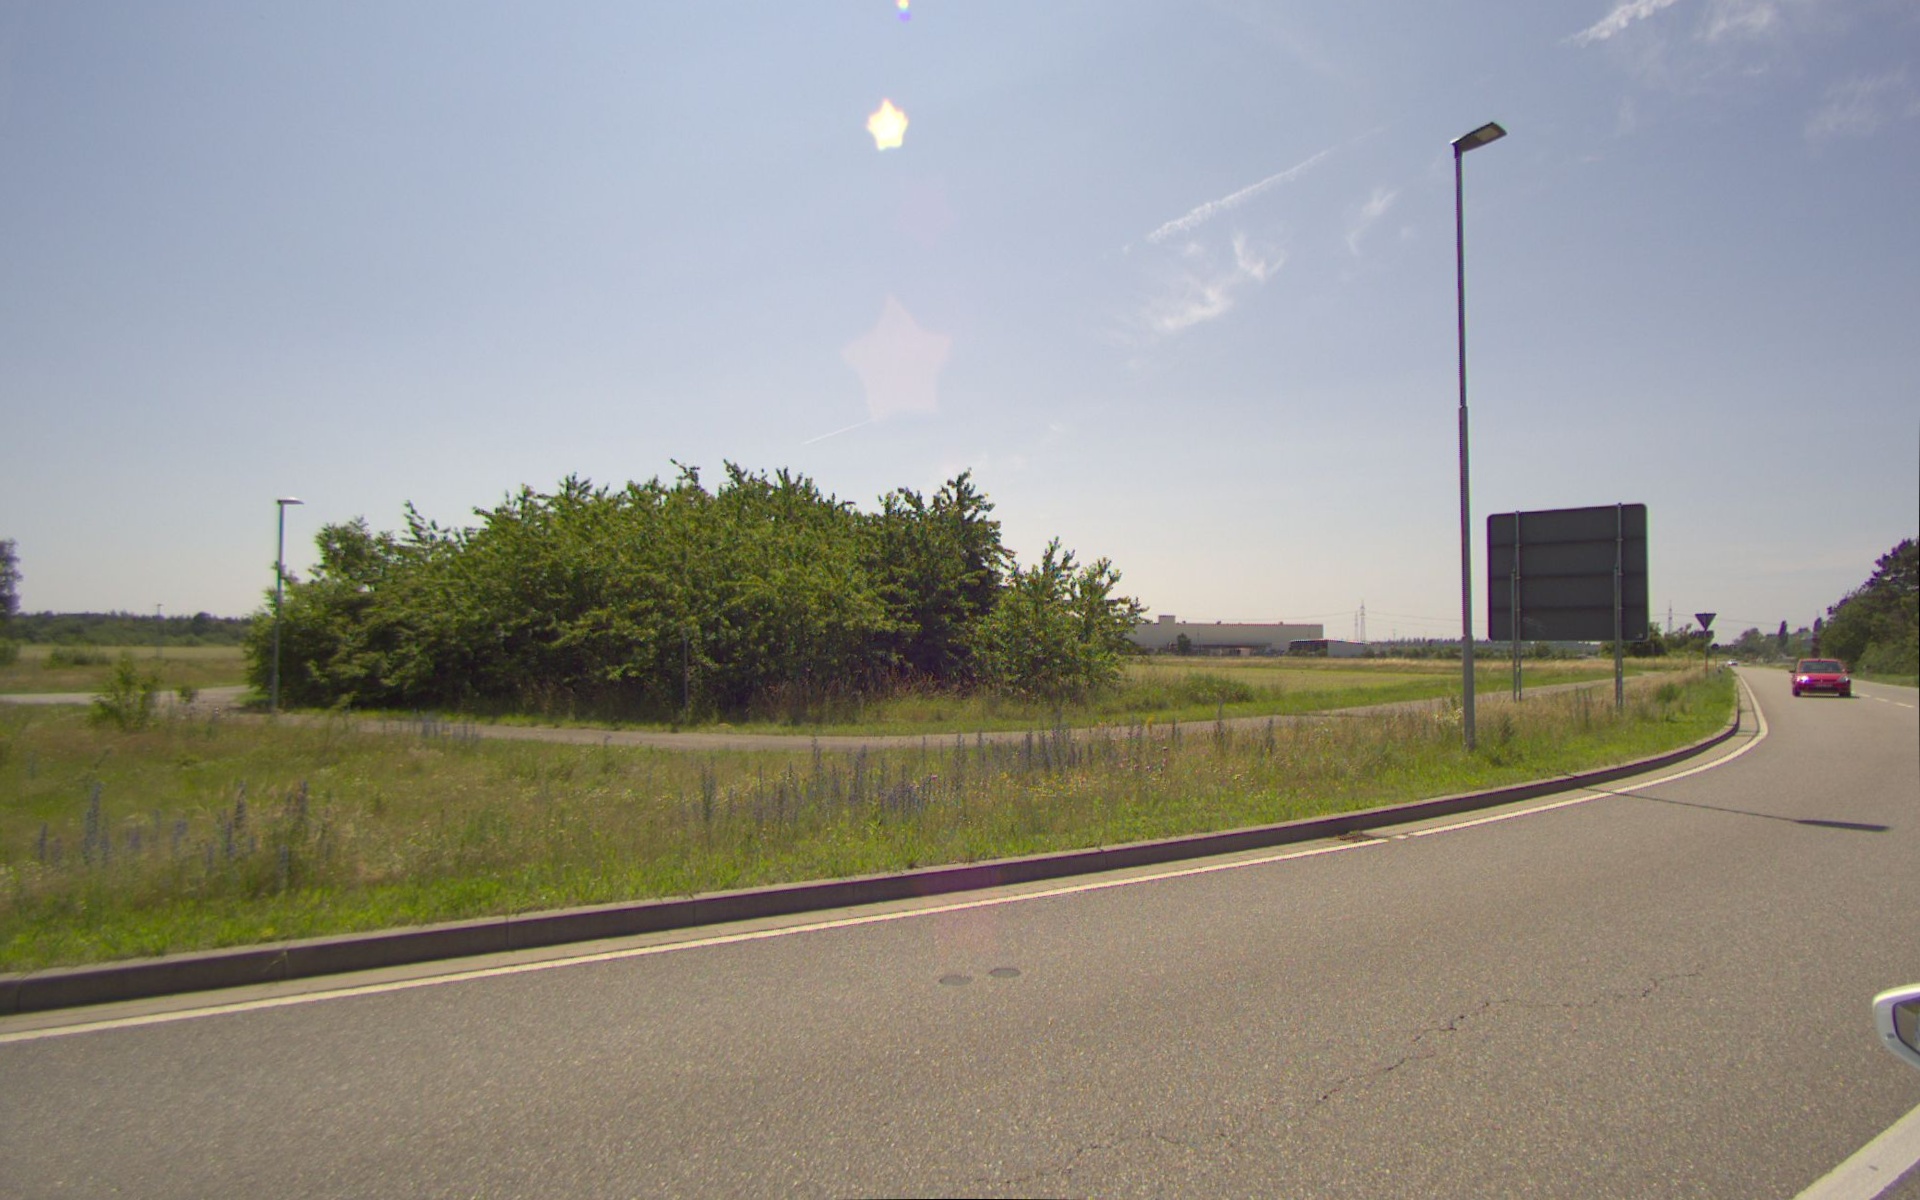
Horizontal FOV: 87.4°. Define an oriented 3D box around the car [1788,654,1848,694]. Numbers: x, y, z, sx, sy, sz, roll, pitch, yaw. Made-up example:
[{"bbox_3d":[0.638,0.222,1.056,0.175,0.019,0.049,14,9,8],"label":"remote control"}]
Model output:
[{"bbox_3d":[33.475,2.868,39.256,1.636,1.452,3.720,-3,-4,39],"label":"car"}]
